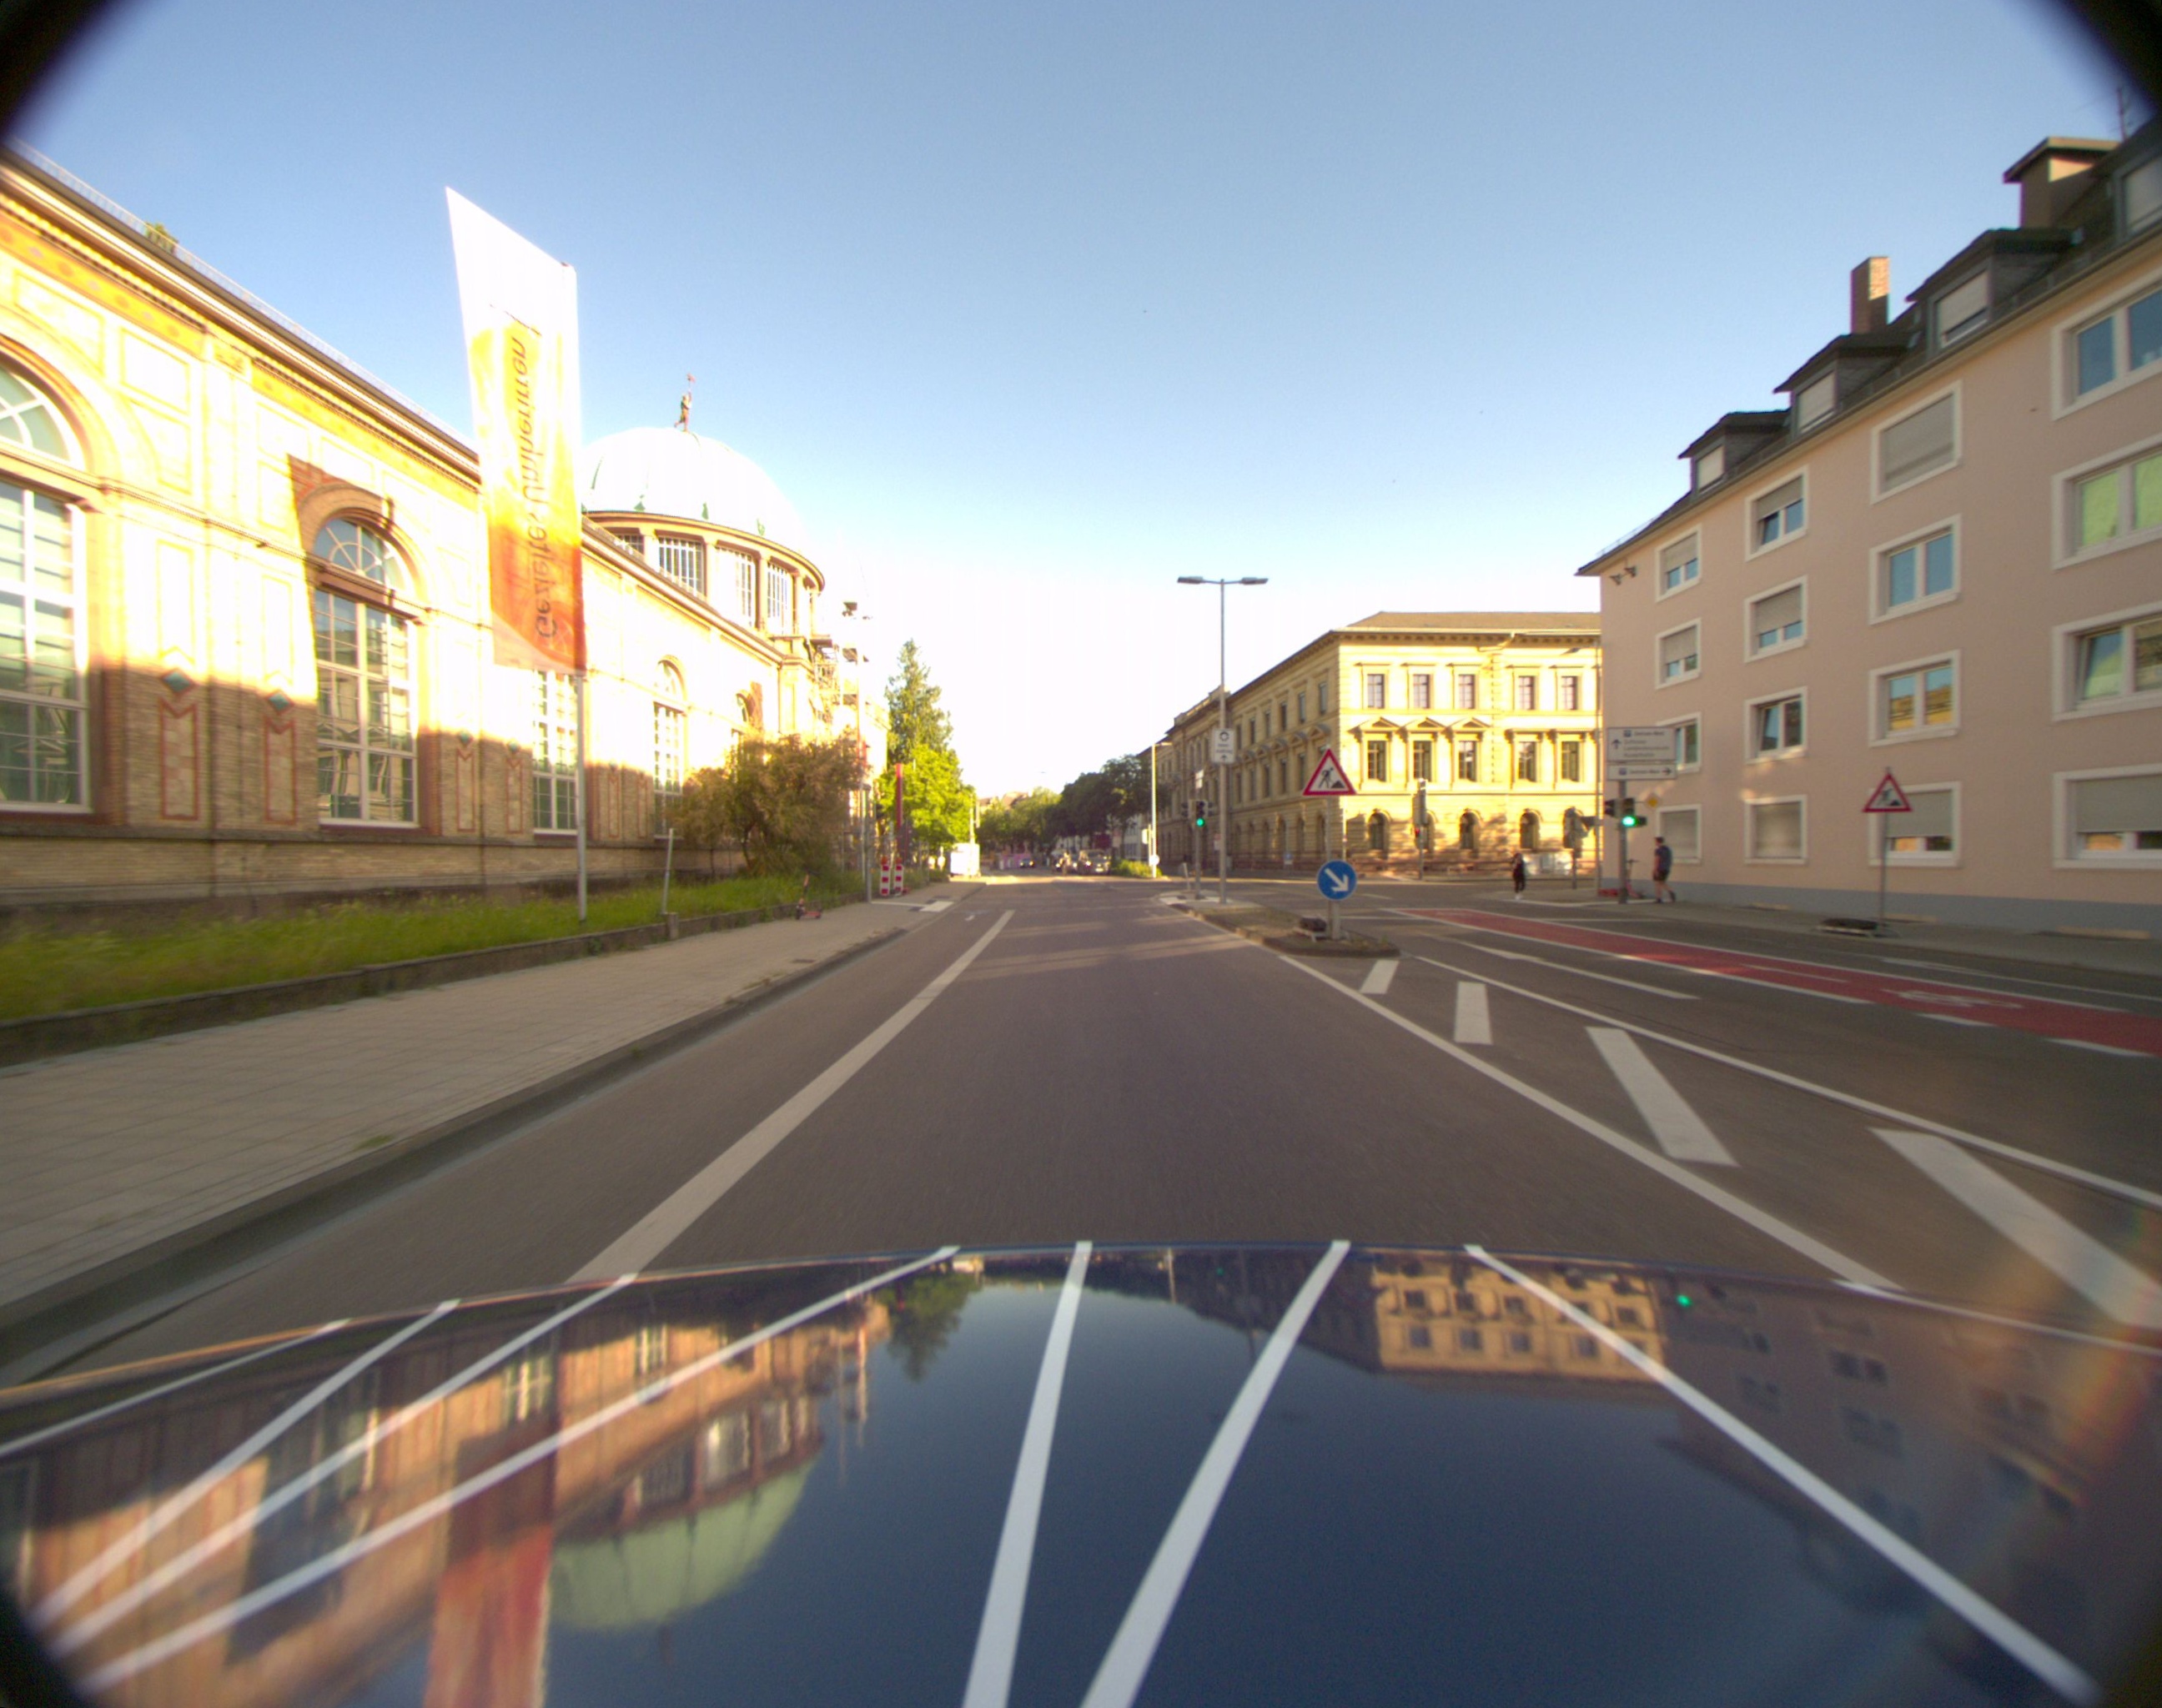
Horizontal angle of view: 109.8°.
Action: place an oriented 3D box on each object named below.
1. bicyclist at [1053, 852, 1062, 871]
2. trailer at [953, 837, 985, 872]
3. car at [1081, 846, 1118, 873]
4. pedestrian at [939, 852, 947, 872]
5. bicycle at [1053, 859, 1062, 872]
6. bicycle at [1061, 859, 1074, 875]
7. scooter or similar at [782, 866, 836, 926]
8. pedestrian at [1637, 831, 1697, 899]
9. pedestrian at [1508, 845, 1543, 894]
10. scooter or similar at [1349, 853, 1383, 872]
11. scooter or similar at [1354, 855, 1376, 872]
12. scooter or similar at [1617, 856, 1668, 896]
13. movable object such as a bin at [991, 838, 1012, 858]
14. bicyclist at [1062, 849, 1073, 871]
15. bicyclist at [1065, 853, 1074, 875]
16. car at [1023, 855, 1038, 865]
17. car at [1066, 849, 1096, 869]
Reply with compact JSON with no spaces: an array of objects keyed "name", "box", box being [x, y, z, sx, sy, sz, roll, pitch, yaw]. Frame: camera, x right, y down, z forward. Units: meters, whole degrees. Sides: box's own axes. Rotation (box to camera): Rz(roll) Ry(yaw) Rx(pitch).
[{"name":"bicyclist","box":[-2.055,0.668,66.625,0.674,1.643,0.887,-2,1,-6]},{"name":"trailer","box":[-8.369,0.019,57.314,2.085,2.513,4.489,1,0,-5]},{"name":"car","box":[1.330,0.380,57.419,2.074,1.904,5.029,0,1,-7]},{"name":"pedestrian","box":[-12.130,0.705,66.928,0.684,1.691,0.693,0,0,-7]},{"name":"bicycle","box":[-2.041,0.981,66.672,0.671,1.066,1.752,-2,1,-5]},{"name":"bicycle","box":[-1.018,0.948,57.056,0.831,1.136,1.969,-2,1,-4]},{"name":"scooter or similar","box":[-6.347,0.947,17.827,0.557,1.301,1.832,0,0,1]},{"name":"pedestrian","box":[16.609,0.300,21.567,0.869,1.852,1.015,-3,1,3]},{"name":"pedestrian","box":[15.035,0.511,25.725,0.633,1.574,0.818,-3,1,1]},{"name":"scooter or similar","box":[18.421,0.544,49.131,2.029,1.181,0.457,0,1,23]},{"name":"scooter or similar","box":[18.699,0.622,50.043,1.331,1.046,0.393,0,1,-2]},{"name":"scooter or similar","box":[17.409,0.654,23.584,0.534,1.179,1.474,-2,0,3]},{"name":"movable object such as a bin","box":[-12.945,-0.997,123.738,3.172,3.281,4.381,0,0,-10]},{"name":"bicyclist","box":[-1.017,0.437,57.129,0.805,1.599,0.824,0,1,-4]},{"name":"bicyclist","box":[-0.840,0.705,55.372,0.672,1.599,0.824,0,1,-4]},{"name":"car","box":[-6.702,0.773,101.089,1.553,1.288,3.638,2,0,1]},{"name":"car","box":[-0.077,0.449,68.504,1.998,1.739,4.743,0,0,-9]}]
